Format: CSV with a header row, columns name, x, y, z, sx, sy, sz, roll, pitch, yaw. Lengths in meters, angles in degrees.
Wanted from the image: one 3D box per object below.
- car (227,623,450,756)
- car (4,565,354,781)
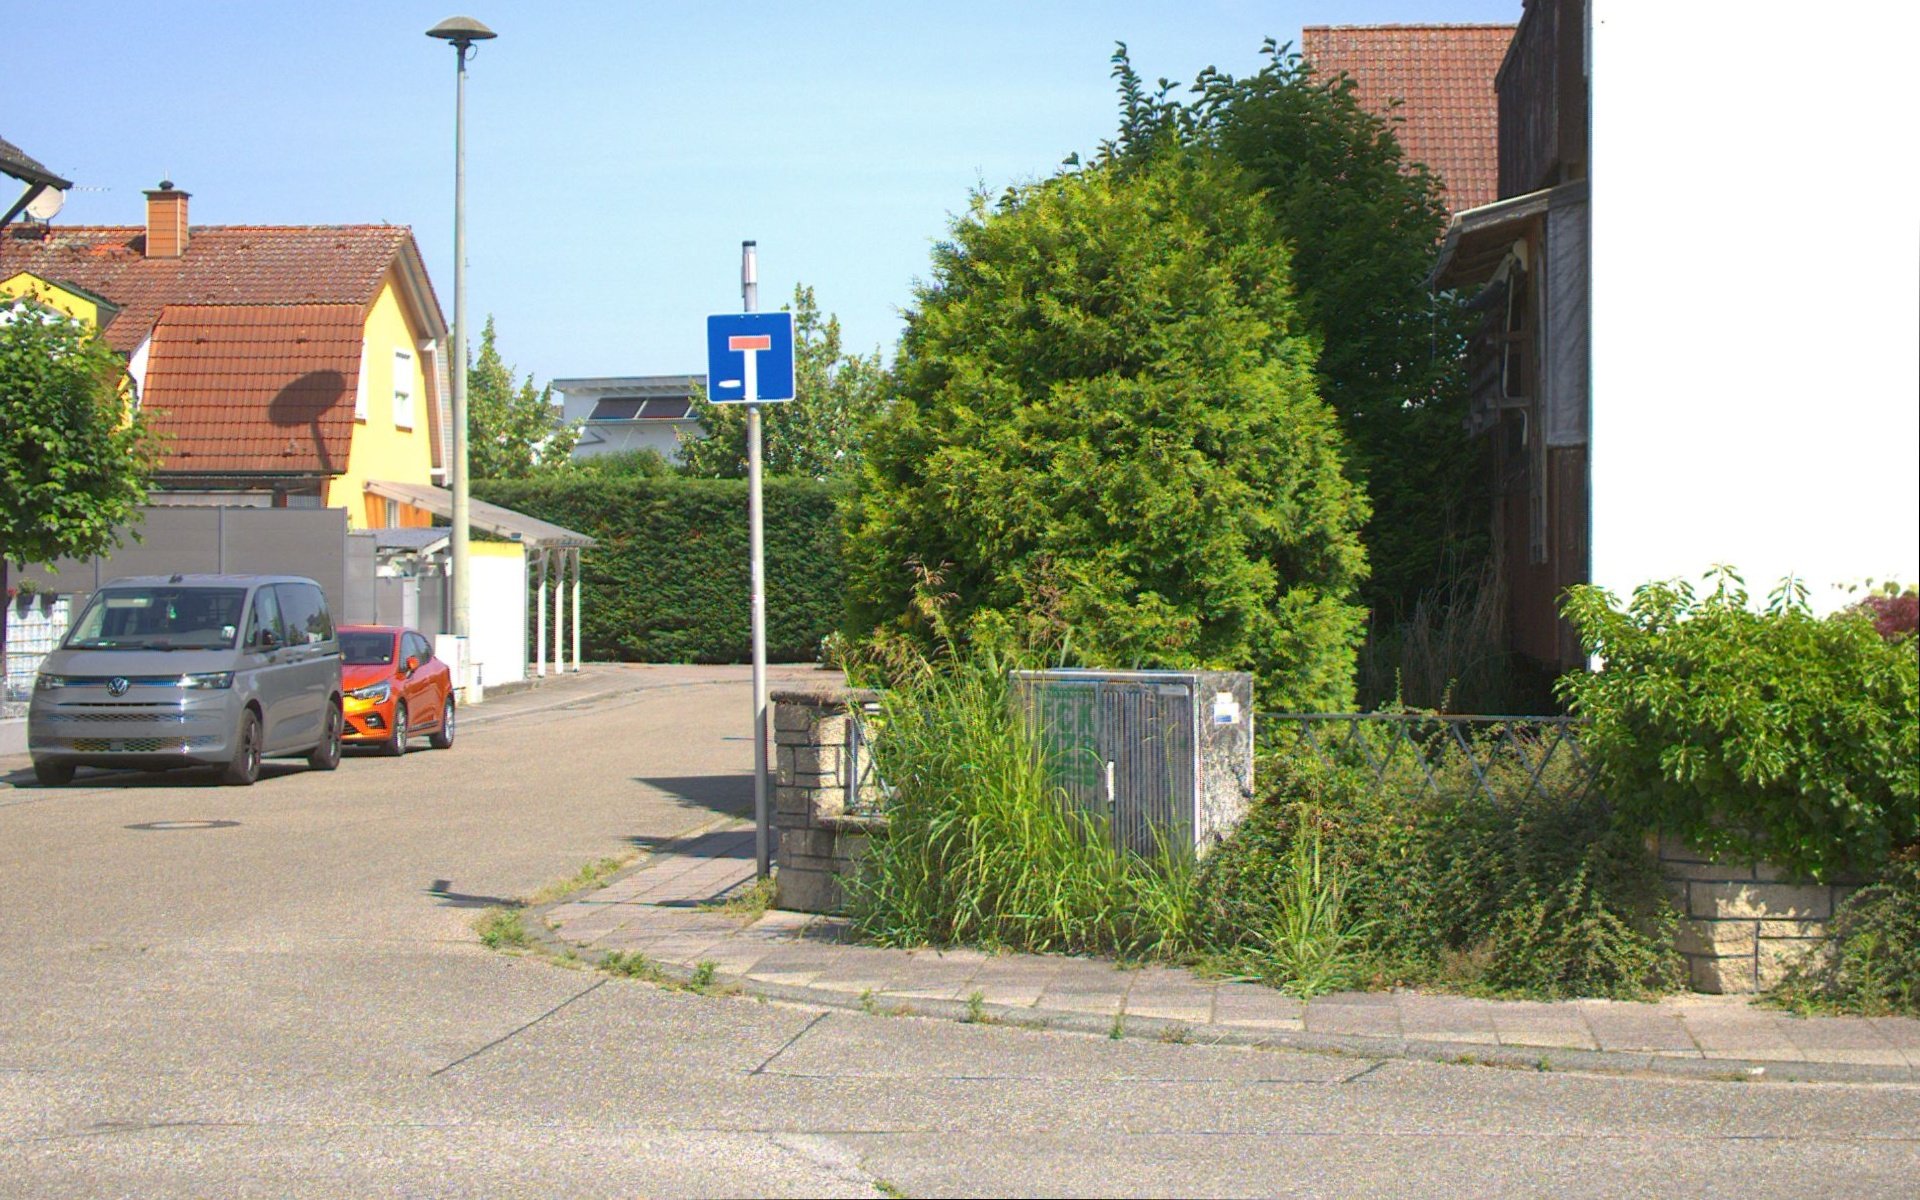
name,x,y,z,sx,sy,sz,roll,pitch,yaw
car,-6.873,0.962,38.374,1.652,1.360,3.778,0,0,2
car,-7.136,0.613,31.886,1.901,1.863,4.370,0,0,5
